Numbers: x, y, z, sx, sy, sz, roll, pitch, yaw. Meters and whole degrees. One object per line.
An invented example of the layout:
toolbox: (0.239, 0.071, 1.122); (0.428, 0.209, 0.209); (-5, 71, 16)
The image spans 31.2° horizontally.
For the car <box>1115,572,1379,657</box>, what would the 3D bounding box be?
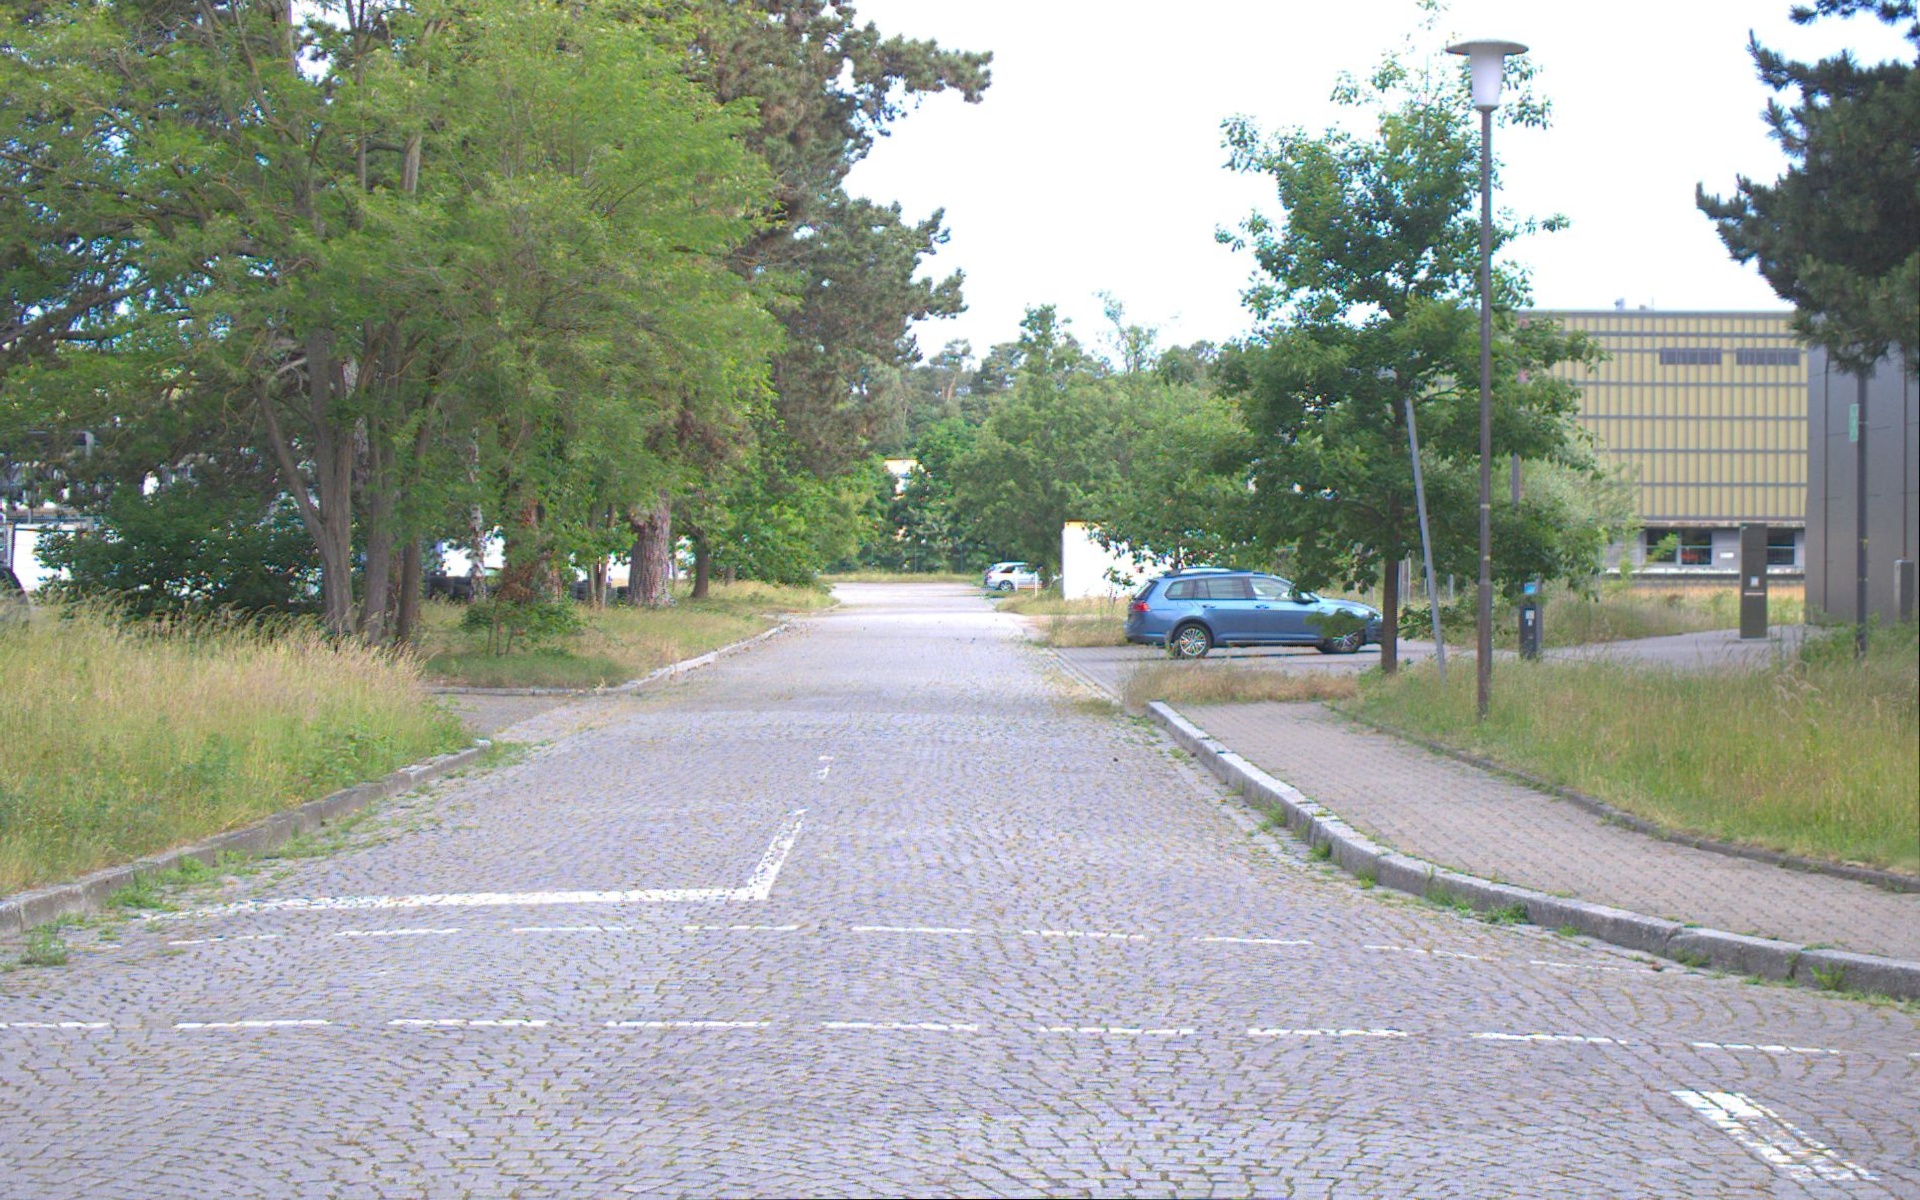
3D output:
car: (4.959, 0.239, 59.790); (4.343, 1.417, 2.000); (0, 1, -2)

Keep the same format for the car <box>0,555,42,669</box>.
car: (-13.355, 0.156, 45.024); (1.613, 1.482, 4.000); (0, 1, 0)

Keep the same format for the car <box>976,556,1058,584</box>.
car: (2.916, -1.558, 176.843); (3.986, 1.393, 2.000); (0, 1, -6)
